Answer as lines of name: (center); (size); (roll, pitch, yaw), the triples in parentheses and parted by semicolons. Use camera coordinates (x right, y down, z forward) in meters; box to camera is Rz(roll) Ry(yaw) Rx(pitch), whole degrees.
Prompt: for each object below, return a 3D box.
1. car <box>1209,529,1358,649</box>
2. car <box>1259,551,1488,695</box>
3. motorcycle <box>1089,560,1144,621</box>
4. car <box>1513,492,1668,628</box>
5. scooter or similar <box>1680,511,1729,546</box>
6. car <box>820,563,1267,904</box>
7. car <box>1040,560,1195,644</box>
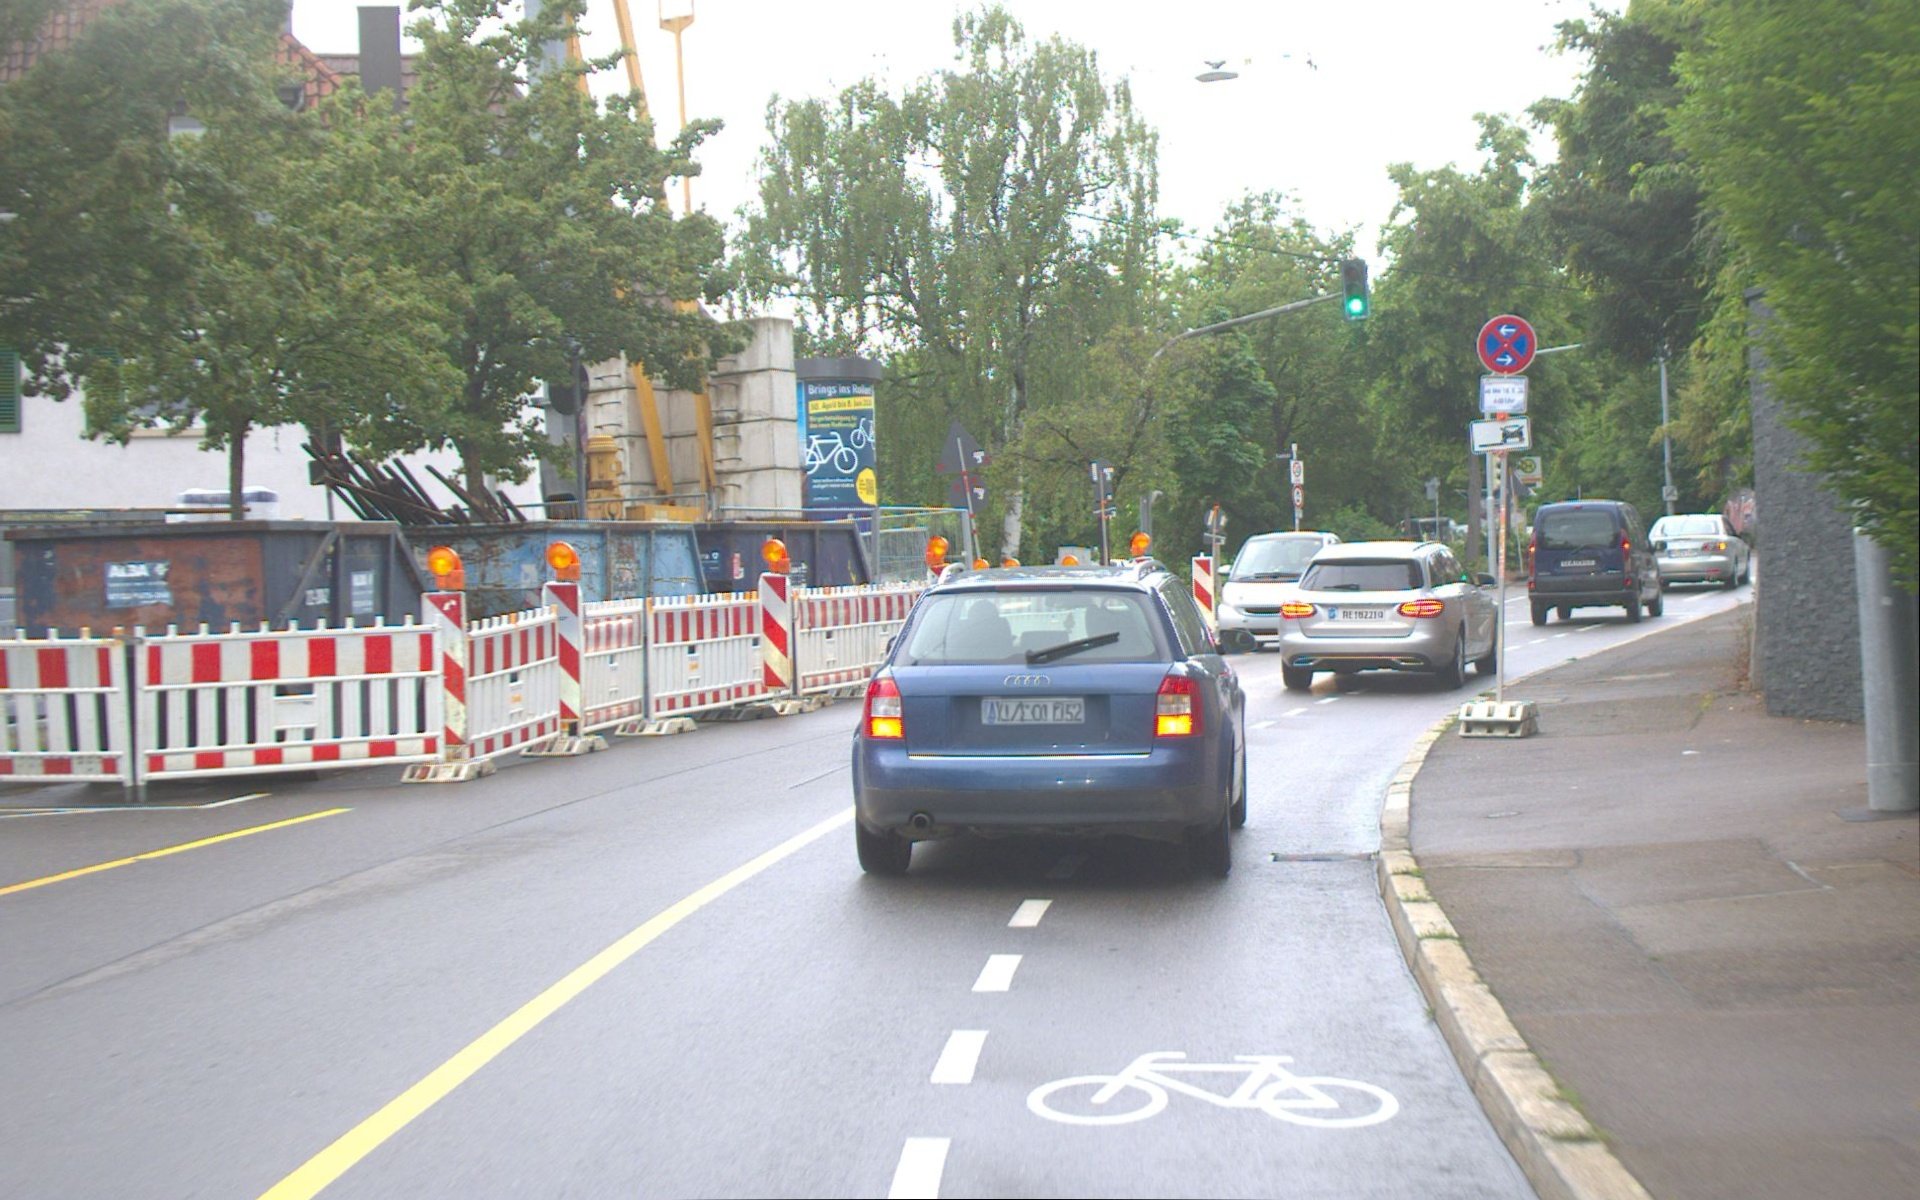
car: (4.287, -0.166, 45.303); (1.457, 1.521, 2.921); (0, 1, 16)
car: (4.311, 0.204, 35.319); (1.910, 1.384, 4.348); (0, 0, 13)
motorcycle: (3.126, -0.197, 68.513); (0.591, 1.127, 1.842); (-4, 1, 16)
car: (9.631, -0.642, 52.333); (1.732, 1.888, 4.052); (-4, 1, 17)
scooter or similar: (30.208, -2.903, 139.508); (1.834, 1.310, 0.600); (2, -2, 7)
car: (0.530, 0.553, 16.900); (1.778, 1.434, 3.999); (0, 1, 7)
car: (3.431, 0.062, 75.632); (1.683, 1.504, 4.012); (-5, -1, -24)
